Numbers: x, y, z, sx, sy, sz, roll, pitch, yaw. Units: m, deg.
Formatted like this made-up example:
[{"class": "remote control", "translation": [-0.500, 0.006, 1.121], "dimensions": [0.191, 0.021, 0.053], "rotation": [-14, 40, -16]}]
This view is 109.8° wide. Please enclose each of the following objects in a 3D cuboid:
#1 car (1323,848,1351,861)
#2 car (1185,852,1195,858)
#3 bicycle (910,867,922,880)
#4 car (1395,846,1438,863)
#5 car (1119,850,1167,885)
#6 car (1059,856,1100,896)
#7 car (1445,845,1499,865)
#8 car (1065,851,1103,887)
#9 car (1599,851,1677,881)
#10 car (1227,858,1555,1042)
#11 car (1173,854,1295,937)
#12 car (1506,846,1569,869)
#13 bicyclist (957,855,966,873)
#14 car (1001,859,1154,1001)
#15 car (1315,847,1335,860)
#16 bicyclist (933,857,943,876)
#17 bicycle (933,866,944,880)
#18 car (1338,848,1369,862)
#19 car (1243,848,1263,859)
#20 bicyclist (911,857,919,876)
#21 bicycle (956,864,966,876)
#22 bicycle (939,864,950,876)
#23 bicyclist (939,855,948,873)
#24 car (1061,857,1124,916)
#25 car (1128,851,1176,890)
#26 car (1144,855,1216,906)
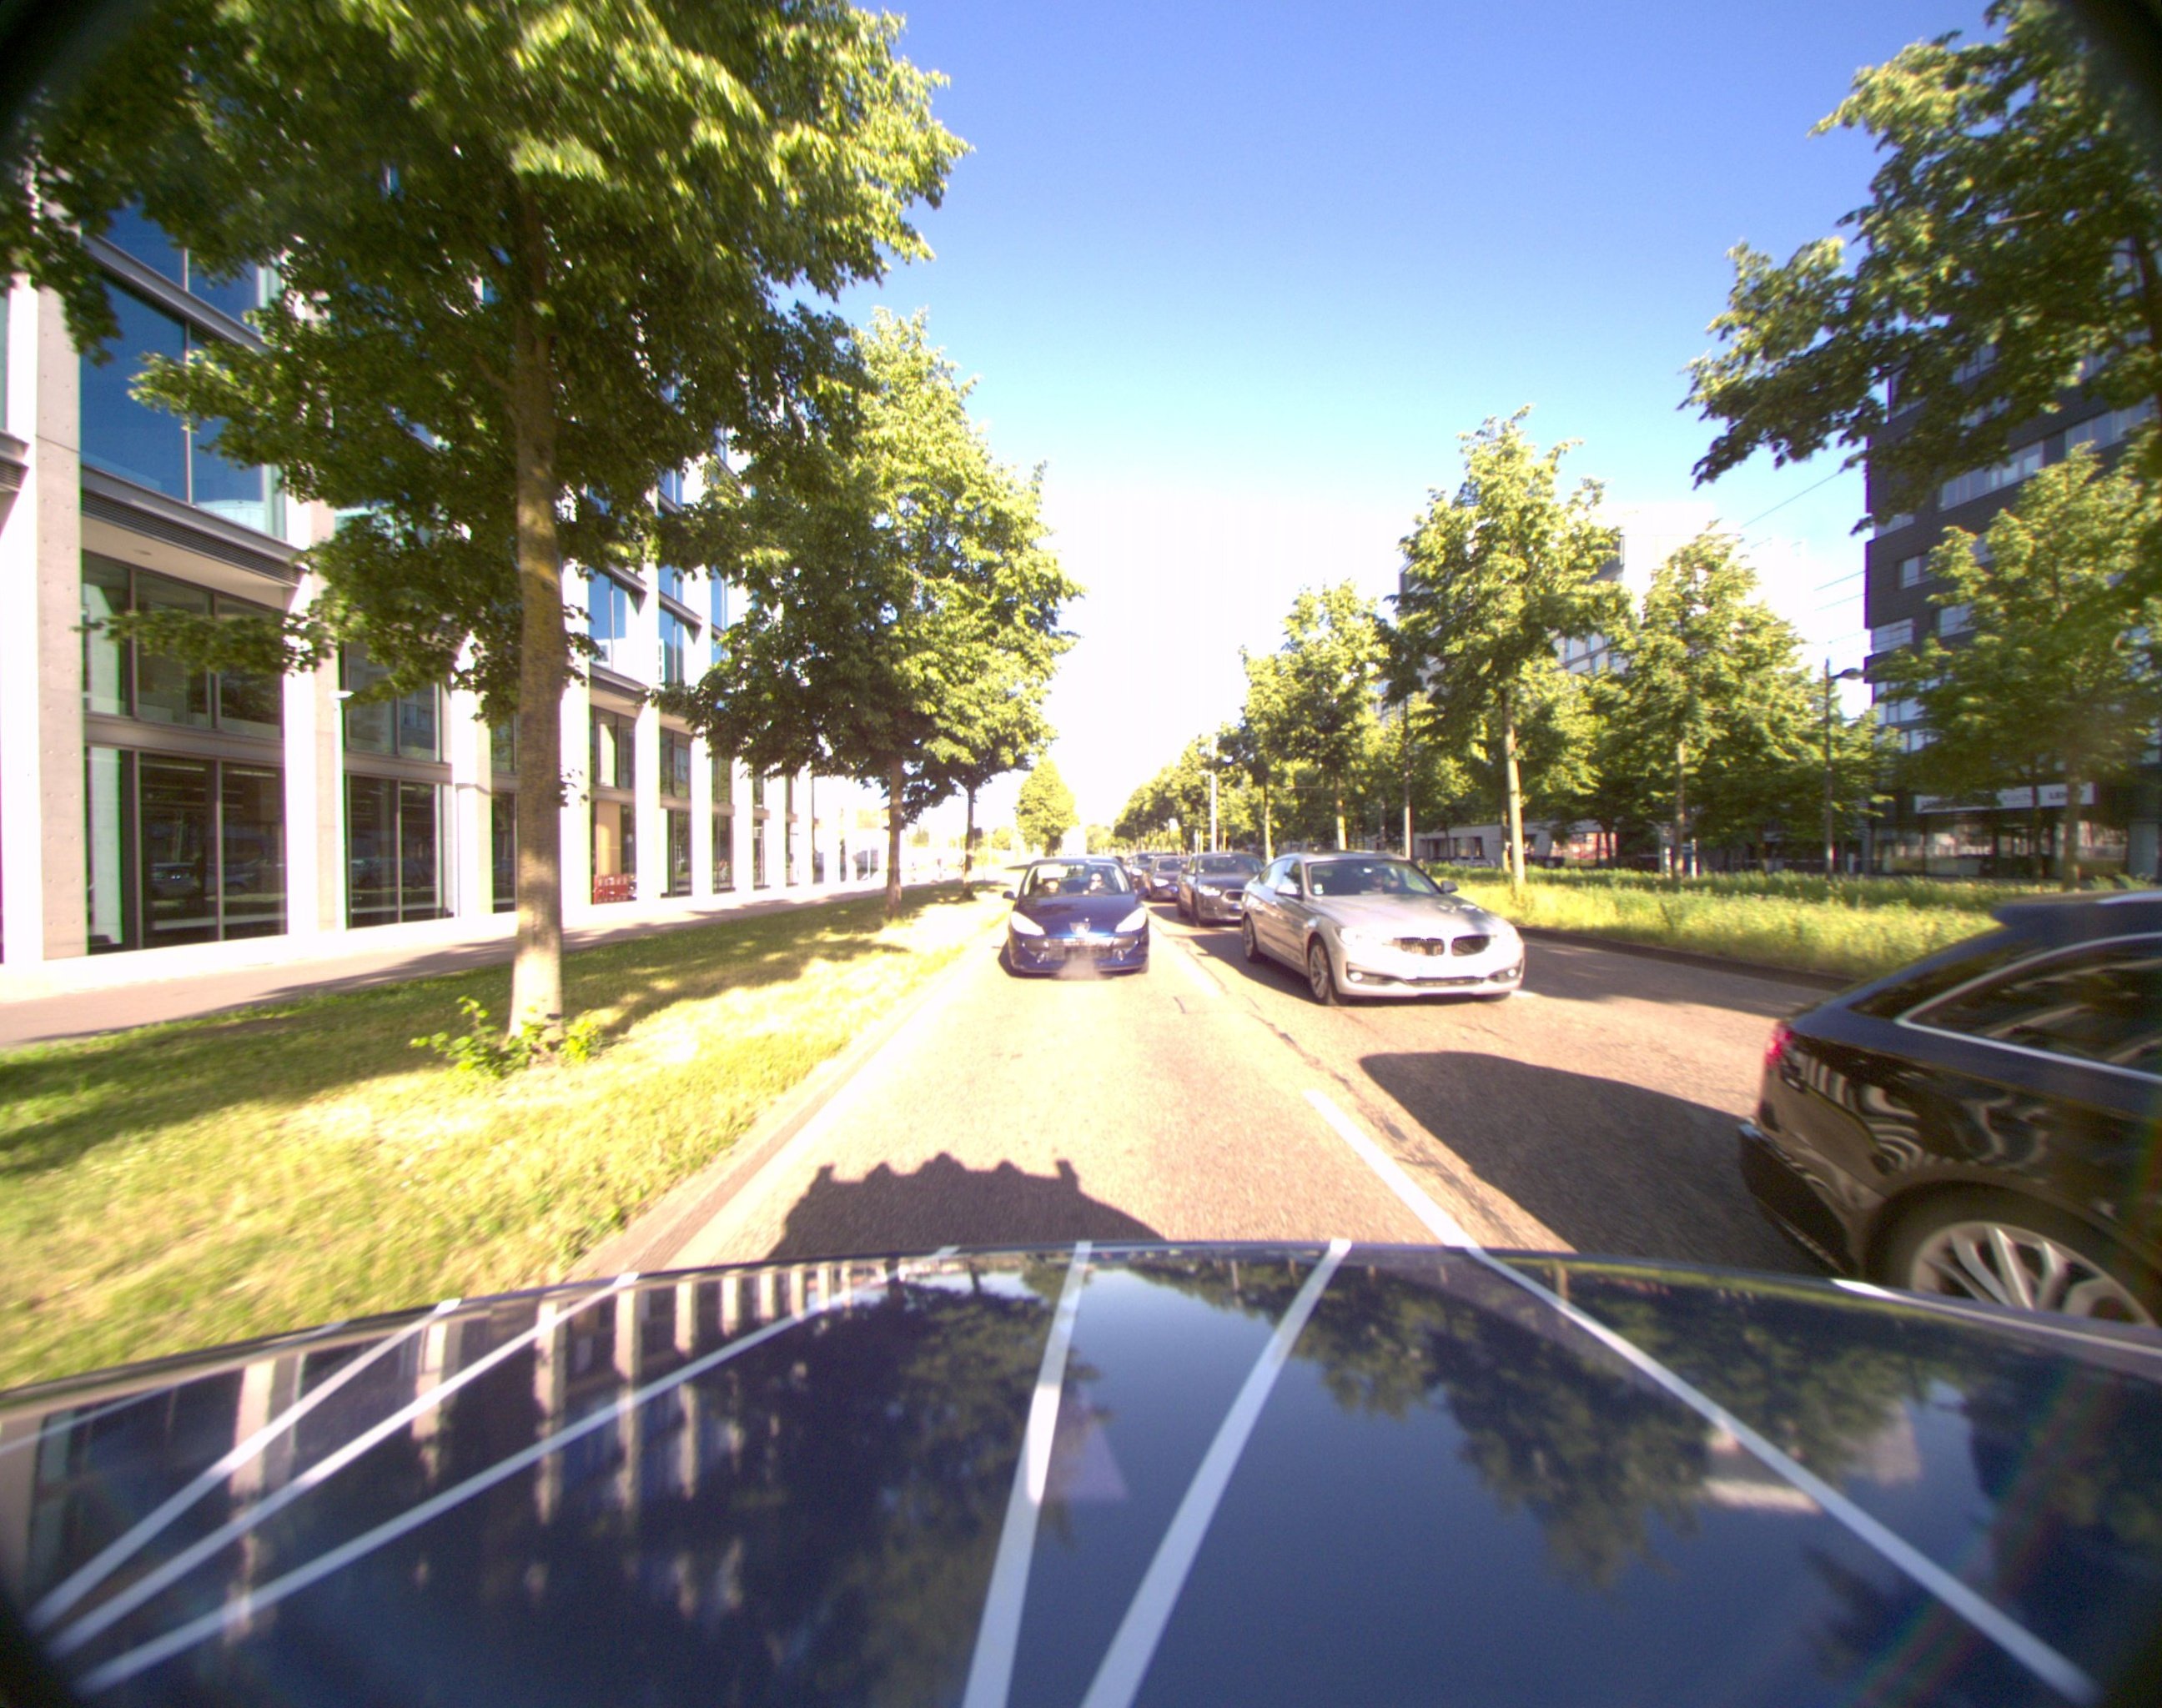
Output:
[{"class": "car", "translation": [33.909, 0.049, 100.643], "dimensions": [2.012, 1.689, 4.791], "rotation": [-1, 0, -1]}, {"class": "car", "translation": [25.111, 0.201, 174.570], "dimensions": [1.666, 1.385, 3.999], "rotation": [-1, 0, 0]}, {"class": "bicycle", "translation": [-10.843, 1.272, 49.952], "dimensions": [0.415, 0.813, 1.320], "rotation": [-1, 1, 1]}, {"class": "car", "translation": [34.088, 0.042, 77.340], "dimensions": [2.012, 1.689, 4.790], "rotation": [-1, 0, -4]}, {"class": "car", "translation": [3.204, 0.663, 40.174], "dimensions": [2.012, 1.689, 4.791], "rotation": [-1, 0, -1]}, {"class": "car", "translation": [-0.039, 0.779, 28.469], "dimensions": [1.407, 1.326, 3.785], "rotation": [-1, 0, 0]}, {"class": "car", "translation": [34.396, 0.067, 67.004], "dimensions": [2.012, 1.689, 4.790], "rotation": [-1, 0, -4]}, {"class": "car", "translation": [0.152, 0.664, 36.089], "dimensions": [1.705, 1.591, 3.785], "rotation": [-1, 0, 0]}, {"class": "car", "translation": [33.943, 0.698, 46.422], "dimensions": [1.858, 1.739, 3.999], "rotation": [-1, 0, 0]}, {"class": "car", "translation": [3.090, 0.826, 8.818], "dimensions": [1.813, 1.480, 4.741], "rotation": [-1, 0, -1]}, {"class": "car", "translation": [3.142, 0.785, 16.362], "dimensions": [1.812, 1.514, 4.028], "rotation": [-1, 0, 0]}, {"class": "car", "translation": [34.086, 0.234, 56.878], "dimensions": [1.858, 1.674, 4.792], "rotation": [-1, 0, 0]}, {"class": "bicyclist", "translation": [-8.604, 0.690, 54.559], "dimensions": [0.534, 1.282, 0.521], "rotation": [-1, 1, 1]}, {"class": "car", "translation": [-0.032, 0.857, 10.337], "dimensions": [1.686, 1.514, 3.785], "rotation": [-1, 0, 0]}, {"class": "car", "translation": [33.870, -0.081, 105.470], "dimensions": [1.601, 1.659, 3.743], "rotation": [0, 0, 0]}, {"class": "bicyclist", "translation": [-9.379, 0.815, 49.927], "dimensions": [0.534, 1.210, 0.507], "rotation": [-1, 1, 1]}, {"class": "bicycle", "translation": [-9.377, 1.237, 50.023], "dimensions": [0.464, 0.813, 1.344], "rotation": [-1, 1, 1]}, {"class": "car", "translation": [33.937, 0.123, 94.837], "dimensions": [2.012, 1.689, 4.791], "rotation": [-1, 0, -1]}, {"class": "car", "translation": [25.617, -0.060, 113.332], "dimensions": [1.858, 1.528, 4.735], "rotation": [-1, 0, 0]}, {"class": "bicyclist", "translation": [-10.862, 0.816, 49.721], "dimensions": [0.448, 1.282, 0.418], "rotation": [-1, 1, 1]}, {"class": "bicycle", "translation": [-8.597, 1.160, 54.632], "dimensions": [0.464, 0.813, 1.344], "rotation": [-1, 1, 1]}, {"class": "bicycle", "translation": [-9.881, 1.141, 54.970], "dimensions": [0.464, 0.813, 1.344], "rotation": [-1, 1, 1]}, {"class": "bicyclist", "translation": [-9.898, 0.717, 54.678], "dimensions": [0.534, 1.282, 0.457], "rotation": [-1, 1, 1]}, {"class": "car", "translation": [0.306, 0.851, 21.866], "dimensions": [1.612, 1.463, 4.394], "rotation": [-1, 0, 0]}, {"class": "car", "translation": [3.072, 0.679, 33.710], "dimensions": [1.812, 1.581, 4.164], "rotation": [-1, 0, 1]}, {"class": "car", "translation": [3.078, 0.769, 24.299], "dimensions": [1.812, 1.446, 4.254], "rotation": [-1, 0, 1]}]
